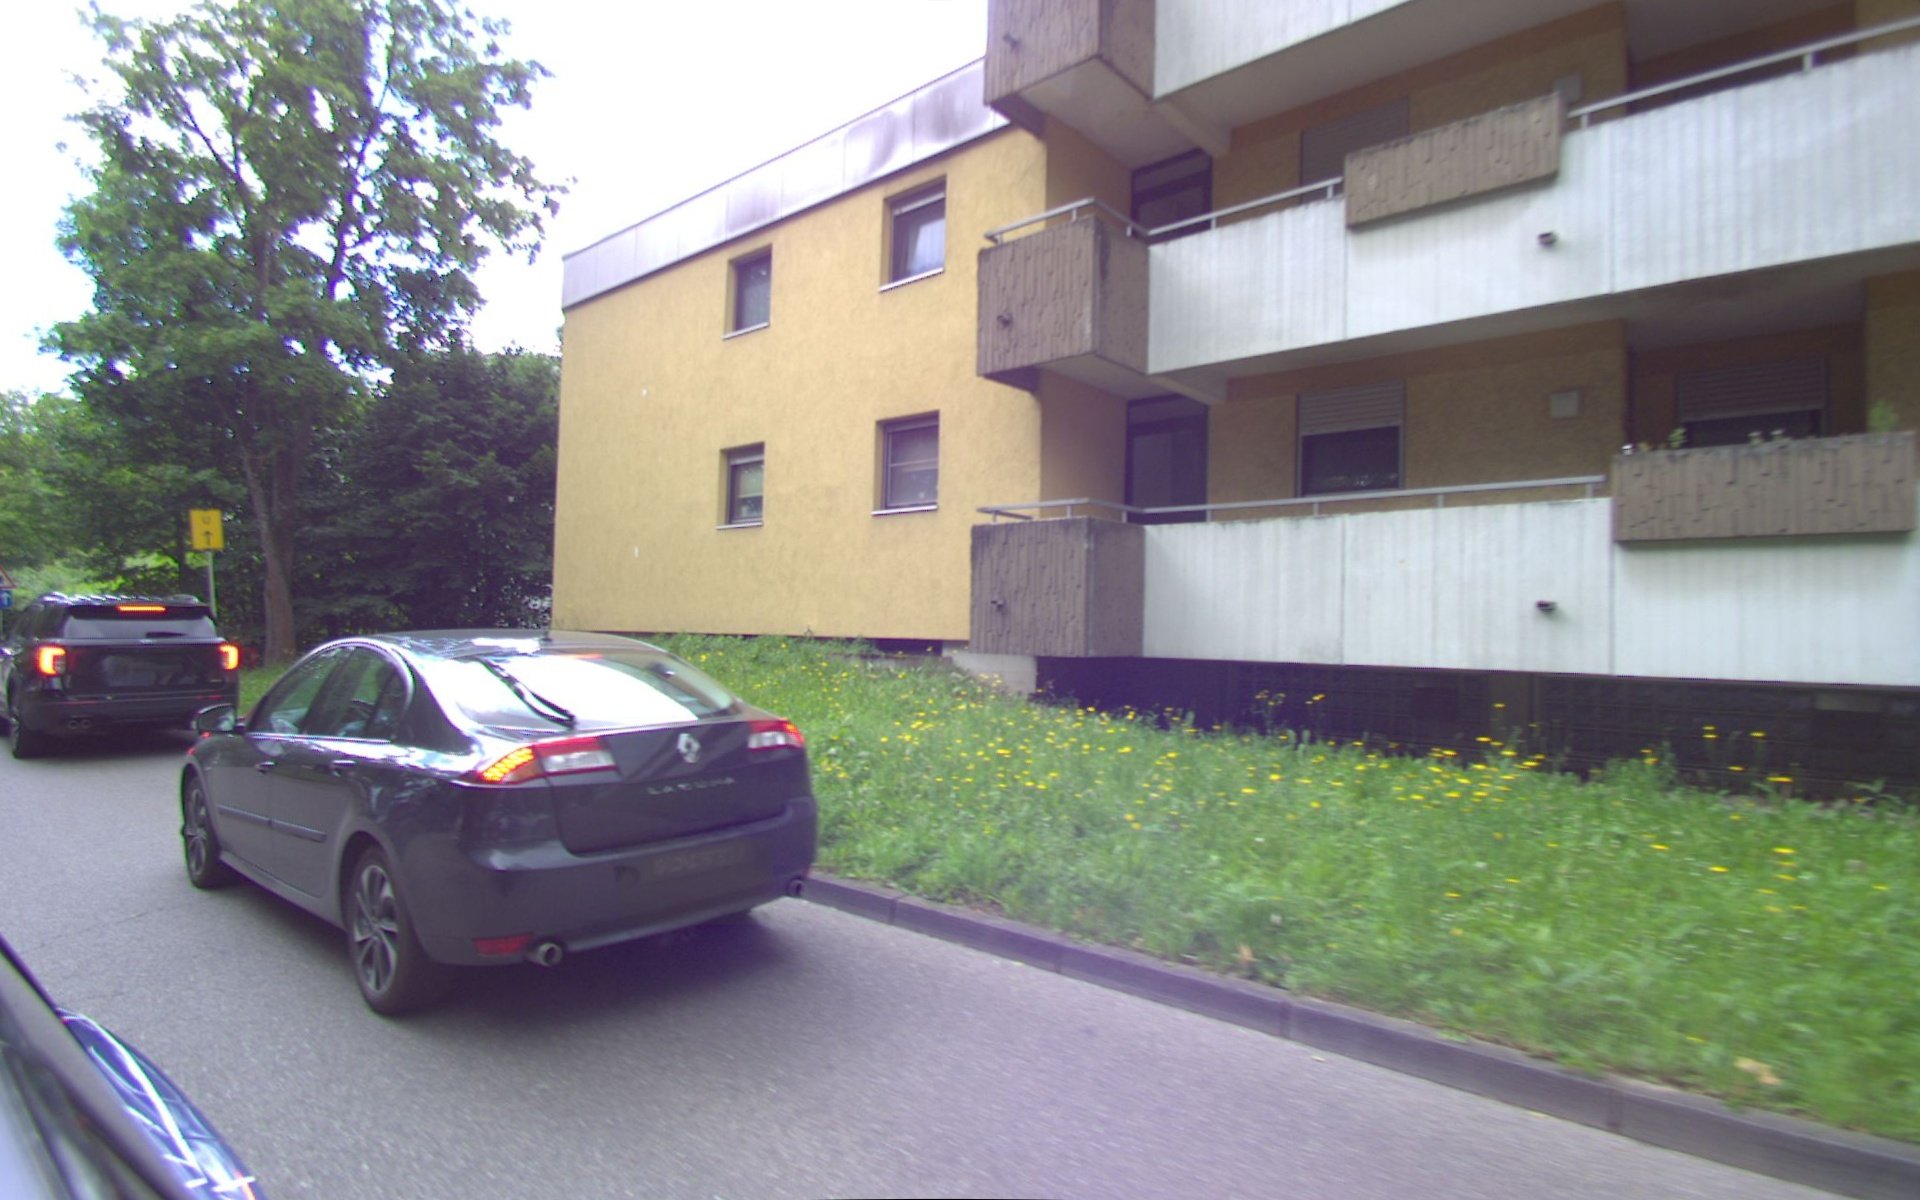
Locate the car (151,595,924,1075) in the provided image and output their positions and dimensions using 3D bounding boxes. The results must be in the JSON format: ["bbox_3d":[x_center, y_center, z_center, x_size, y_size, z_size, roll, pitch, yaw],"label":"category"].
[{"bbox_3d":[-2.442,0.747,5.201,4.421,1.422,1.893,-1,-2,41],"label":"car"}]

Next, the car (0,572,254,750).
[{"bbox_3d":[-10.407,0.650,12.251,5.056,1.730,1.893,-1,-2,42],"label":"car"}]
